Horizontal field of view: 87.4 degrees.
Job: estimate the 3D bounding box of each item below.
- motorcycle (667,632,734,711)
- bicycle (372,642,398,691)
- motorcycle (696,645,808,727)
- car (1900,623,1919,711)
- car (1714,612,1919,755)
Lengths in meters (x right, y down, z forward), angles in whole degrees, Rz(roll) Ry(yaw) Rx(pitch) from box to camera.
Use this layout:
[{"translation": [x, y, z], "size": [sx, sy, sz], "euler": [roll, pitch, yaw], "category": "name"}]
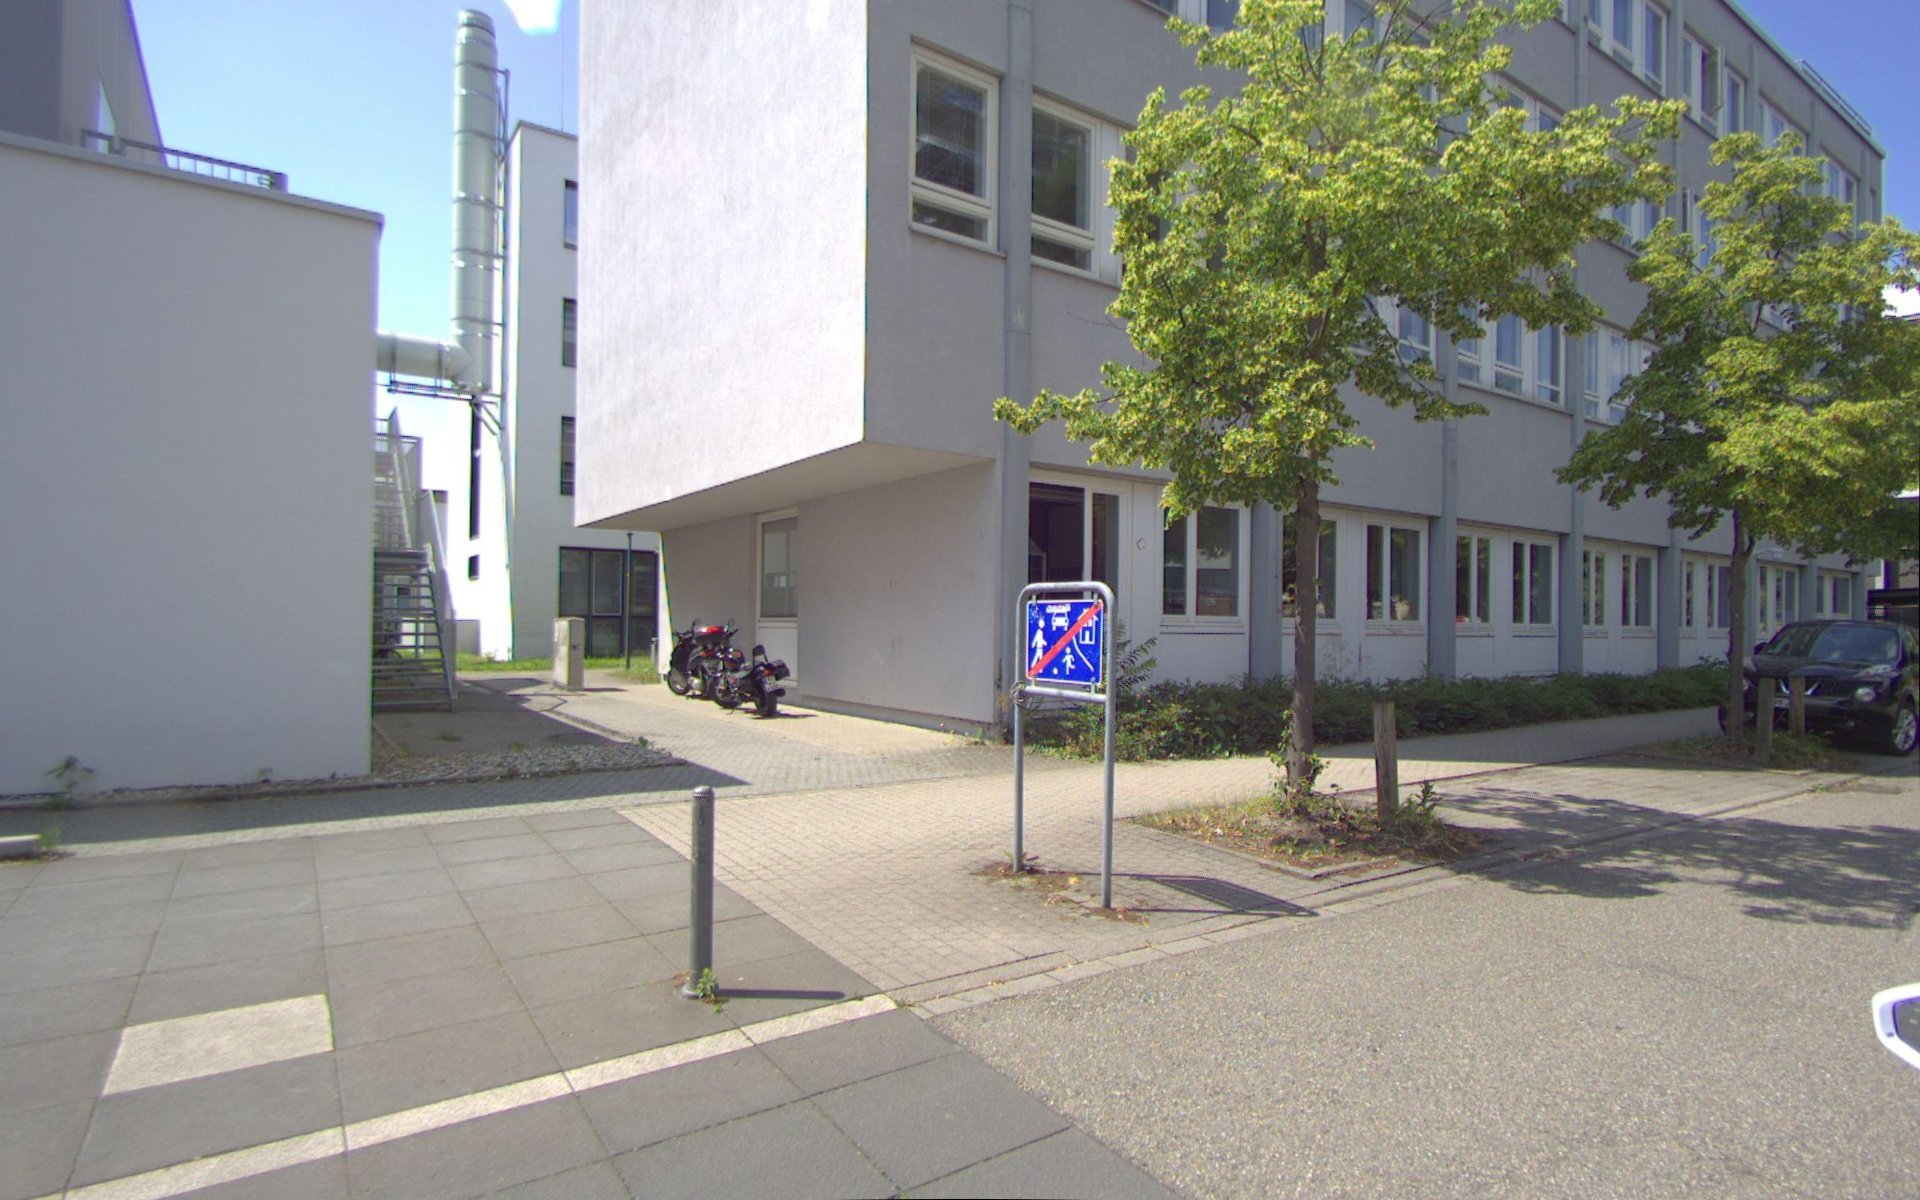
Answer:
[{"translation": [-4.443, 1.186, 17.122], "size": [0.625, 1.263, 1.768], "euler": [1, -2, -31], "category": "motorcycle"}, {"translation": [-12.245, 1.397, 21.370], "size": [0.439, 0.986, 0.973], "euler": [1, -1, -32], "category": "bicycle"}, {"translation": [-3.038, 1.190, 14.507], "size": [0.872, 1.056, 2.164], "euler": [1, -2, -33], "category": "motorcycle"}, {"translation": [18.250, 1.175, 17.689], "size": [4.219, 1.480, 1.765], "euler": [1, 0, -37], "category": "car"}, {"translation": [11.486, 0.974, 13.023], "size": [4.030, 1.584, 1.685], "euler": [1, -2, -37], "category": "car"}]
